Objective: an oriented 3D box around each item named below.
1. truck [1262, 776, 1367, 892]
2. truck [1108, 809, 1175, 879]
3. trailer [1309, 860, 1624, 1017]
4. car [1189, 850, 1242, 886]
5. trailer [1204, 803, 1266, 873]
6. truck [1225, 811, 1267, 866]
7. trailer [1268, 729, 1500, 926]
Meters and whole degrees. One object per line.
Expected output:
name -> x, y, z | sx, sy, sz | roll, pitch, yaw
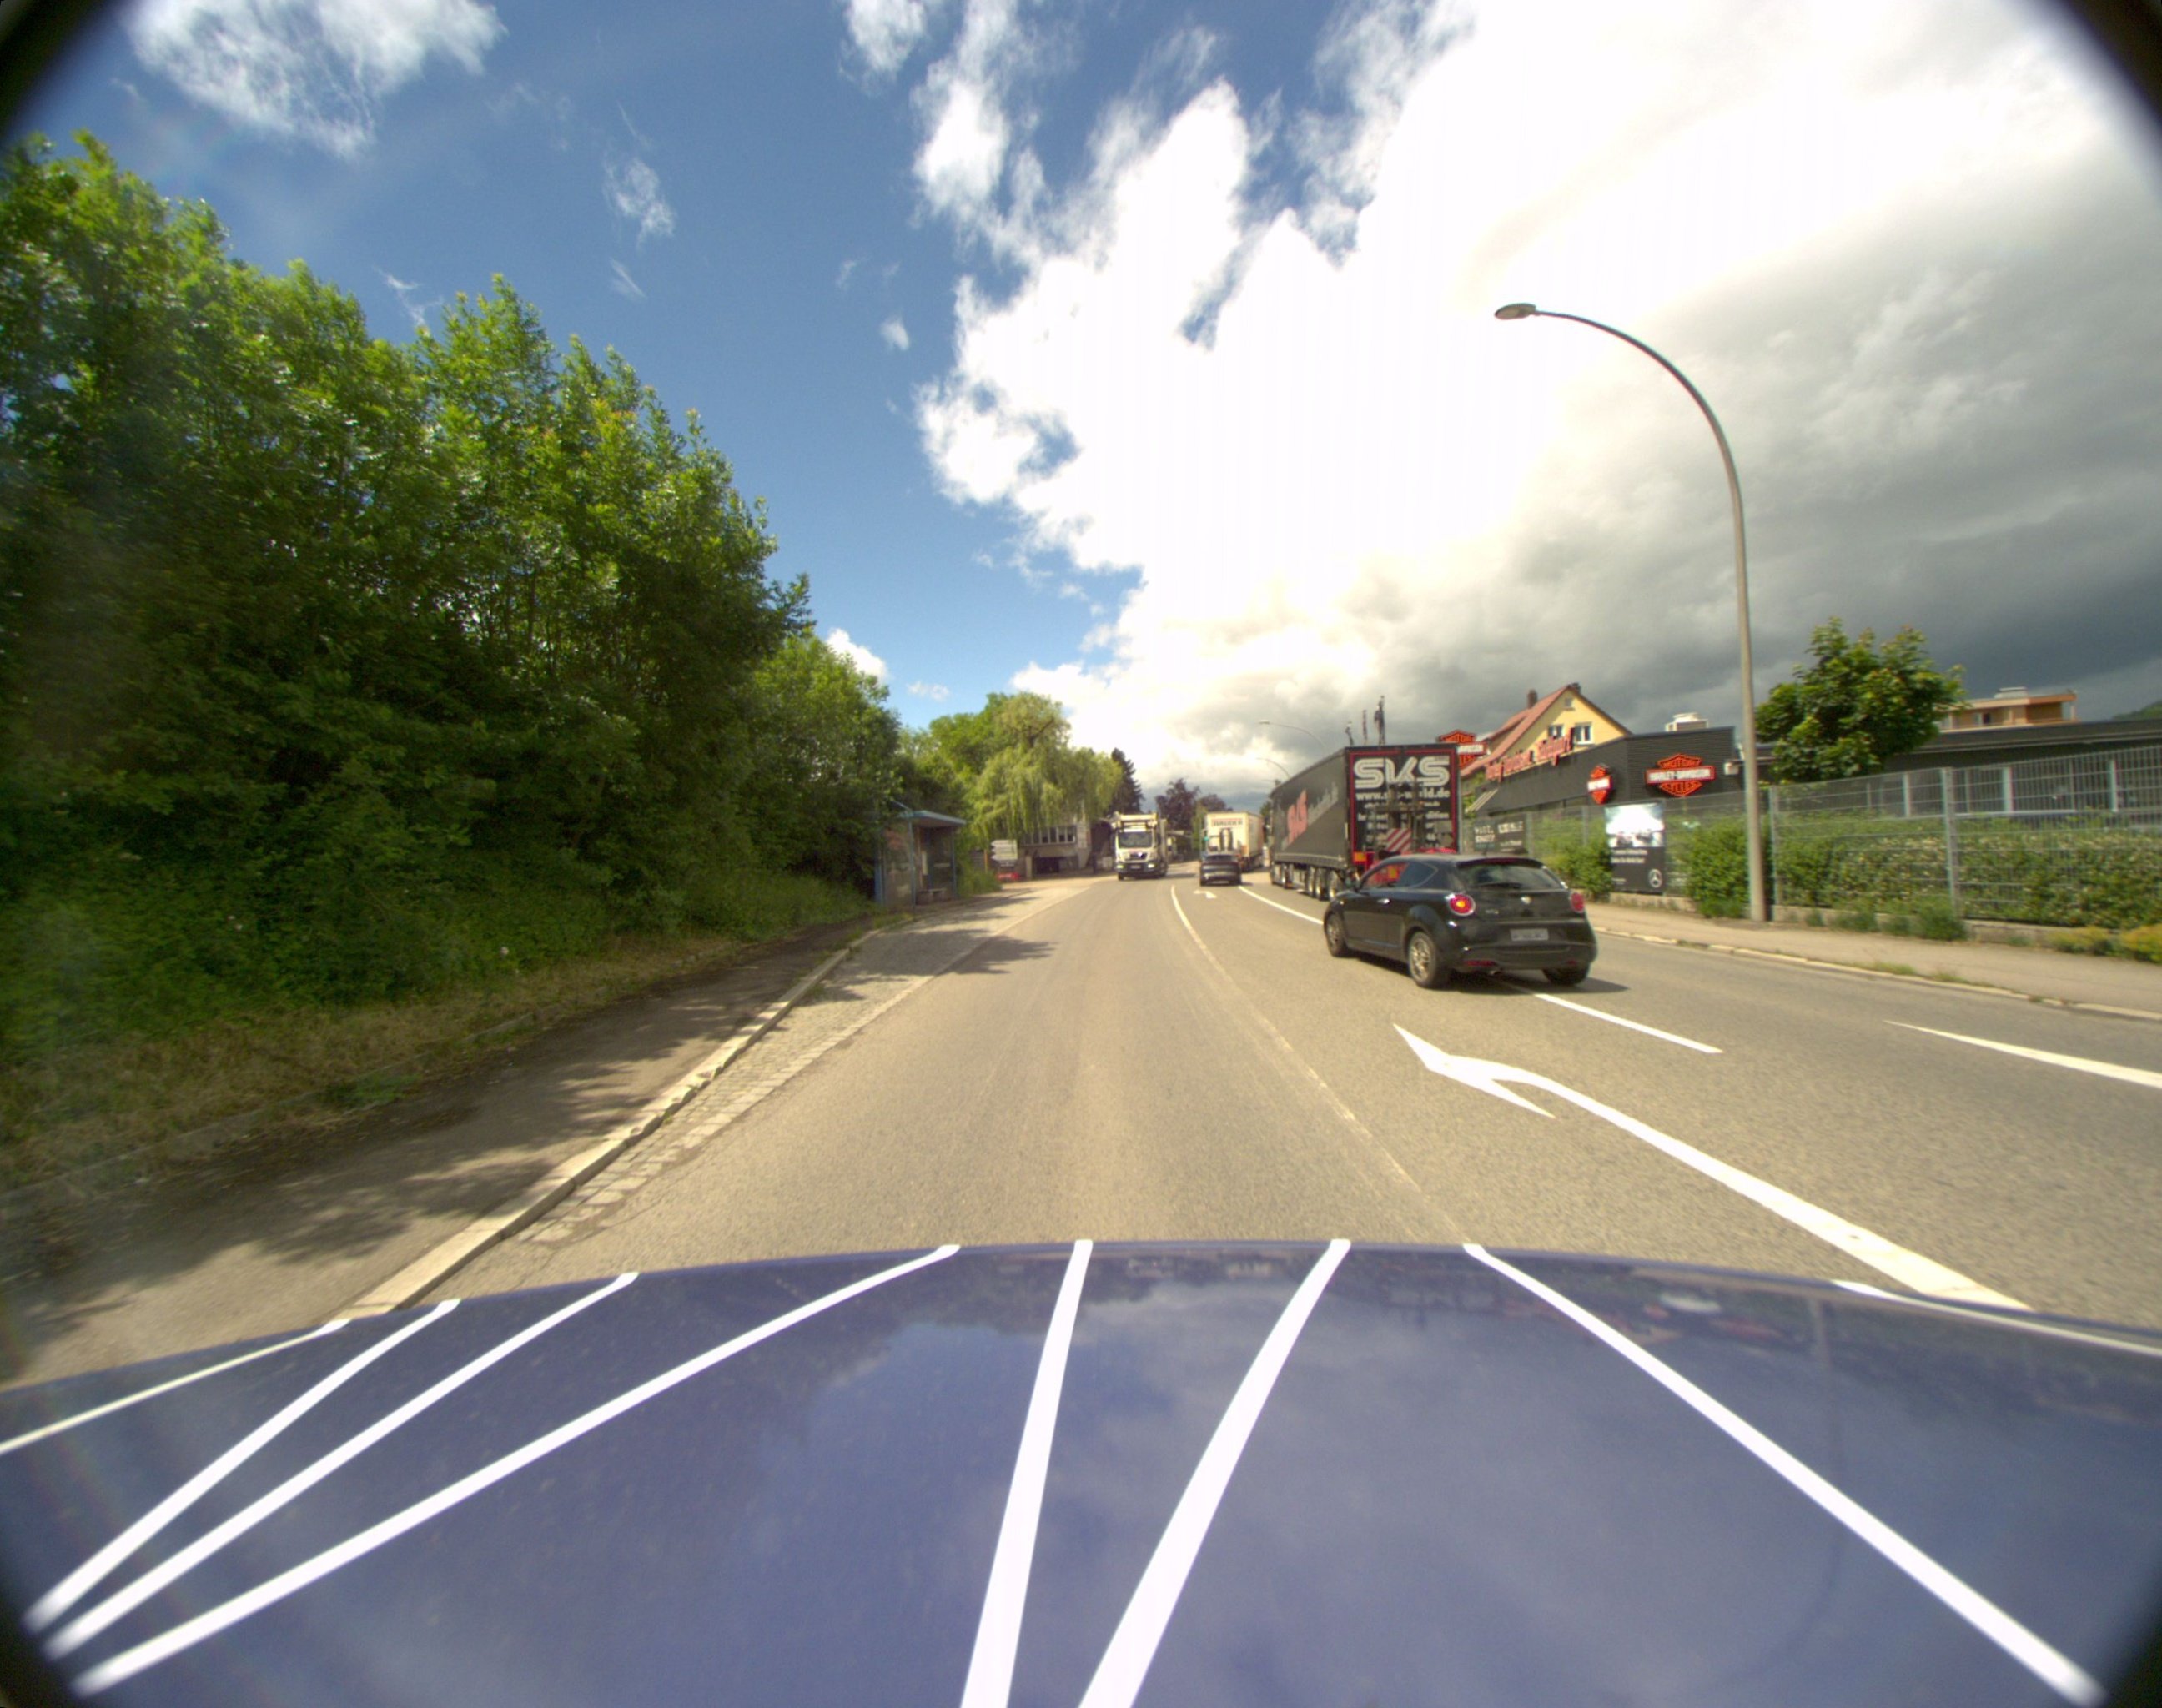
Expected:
truck -> 9.188, -0.736, 30.636 | 2.804, 4.029, 6.504 | -3, 1, 7
truck -> 3.956, -0.634, 47.326 | 2.662, 3.789, 9.823 | -3, 0, 12
trailer -> 4.241, 0.809, 9.159 | 1.652, 1.415, 3.999 | -1, 0, -2
car -> 5.999, 0.595, 34.253 | 1.843, 1.455, 4.254 | -1, 1, 3
trailer -> 11.199, -1.119, 53.819 | 2.775, 4.121, 15.367 | -3, 0, 16
truck -> 13.304, -1.230, 61.139 | 2.775, 4.095, 4.991 | -3, 1, 16
trailer -> 8.293, -0.642, 23.811 | 2.804, 4.029, 15.563 | -3, 0, 7
